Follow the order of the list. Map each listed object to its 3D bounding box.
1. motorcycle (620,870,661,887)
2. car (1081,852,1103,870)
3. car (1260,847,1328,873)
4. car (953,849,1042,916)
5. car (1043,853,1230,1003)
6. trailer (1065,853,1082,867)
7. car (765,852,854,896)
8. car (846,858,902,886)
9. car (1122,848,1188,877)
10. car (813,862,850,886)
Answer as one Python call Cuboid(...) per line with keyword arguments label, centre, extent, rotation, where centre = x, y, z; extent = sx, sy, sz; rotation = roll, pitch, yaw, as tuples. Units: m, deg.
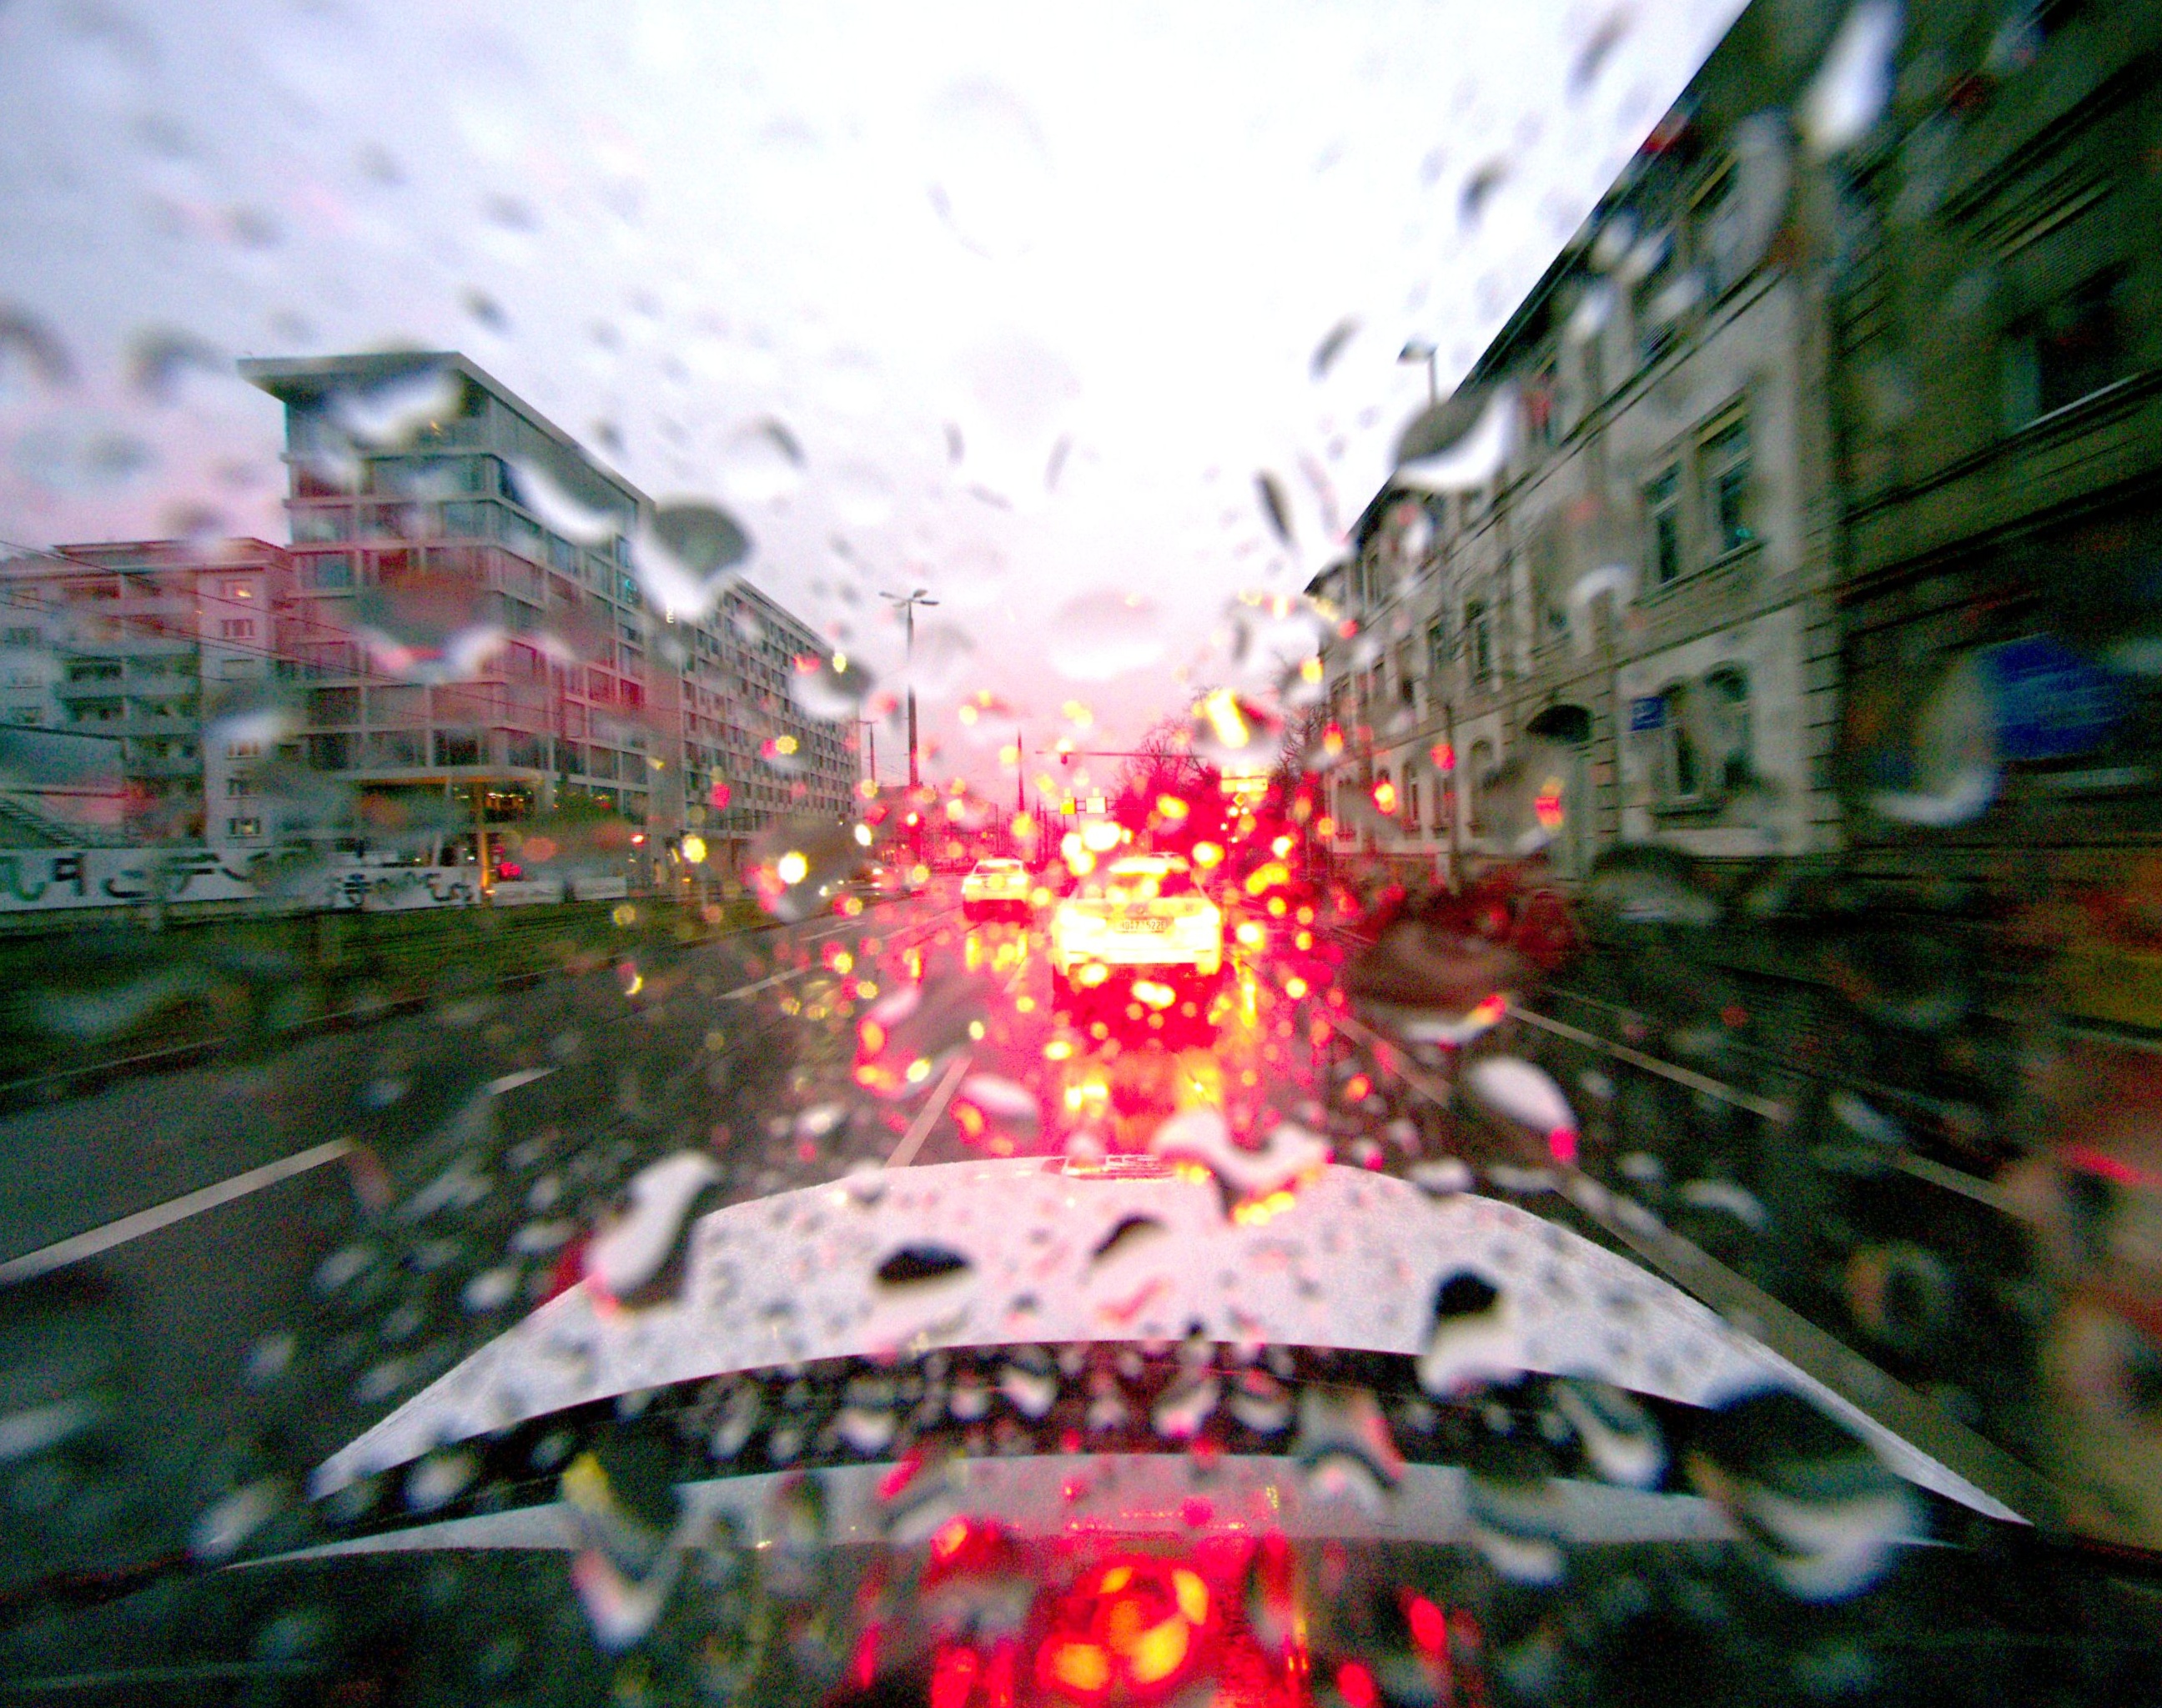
Cuboid(label="motorcycle", centre=(-36.323, 2.031, 67.161), extent=(2.700, 1.314, 1.044), rotation=(-1, 0, -4))
Cuboid(label="car", centre=(1.063, 0.673, 77.269), extent=(1.894, 1.641, 4.002), rotation=(-1, 0, 2))
Cuboid(label="car", centre=(13.875, 0.391, 53.103), extent=(3.949, 1.560, 1.862), rotation=(-1, 0, 27))
Cuboid(label="car", centre=(-2.199, 0.713, 22.563), extent=(1.894, 1.641, 4.002), rotation=(-1, 0, 2))
Cuboid(label="car", centre=(0.608, 0.738, 10.653), extent=(1.845, 1.465, 4.948), rotation=(-1, 0, 1))
Cuboid(label="trailer", centre=(-0.872, 0.679, 95.515), extent=(1.828, 1.643, 3.999), rotation=(-1, 0, -1))
Cuboid(label="car", centre=(-13.214, 0.949, 39.804), extent=(3.997, 1.975, 1.988), rotation=(-1, 0, -17))
Cuboid(label="car", centre=(-12.903, 1.138, 50.607), extent=(3.498, 1.492, 1.755), rotation=(-4, 0, 45))
Cuboid(label="car", centre=(4.955, 0.569, 54.493), extent=(3.948, 1.797, 1.863), rotation=(-1, 0, 34))
Cuboid(label="car", centre=(-17.824, 1.406, 58.340), extent=(1.857, 1.640, 4.020), rotation=(-1, 0, -9))
